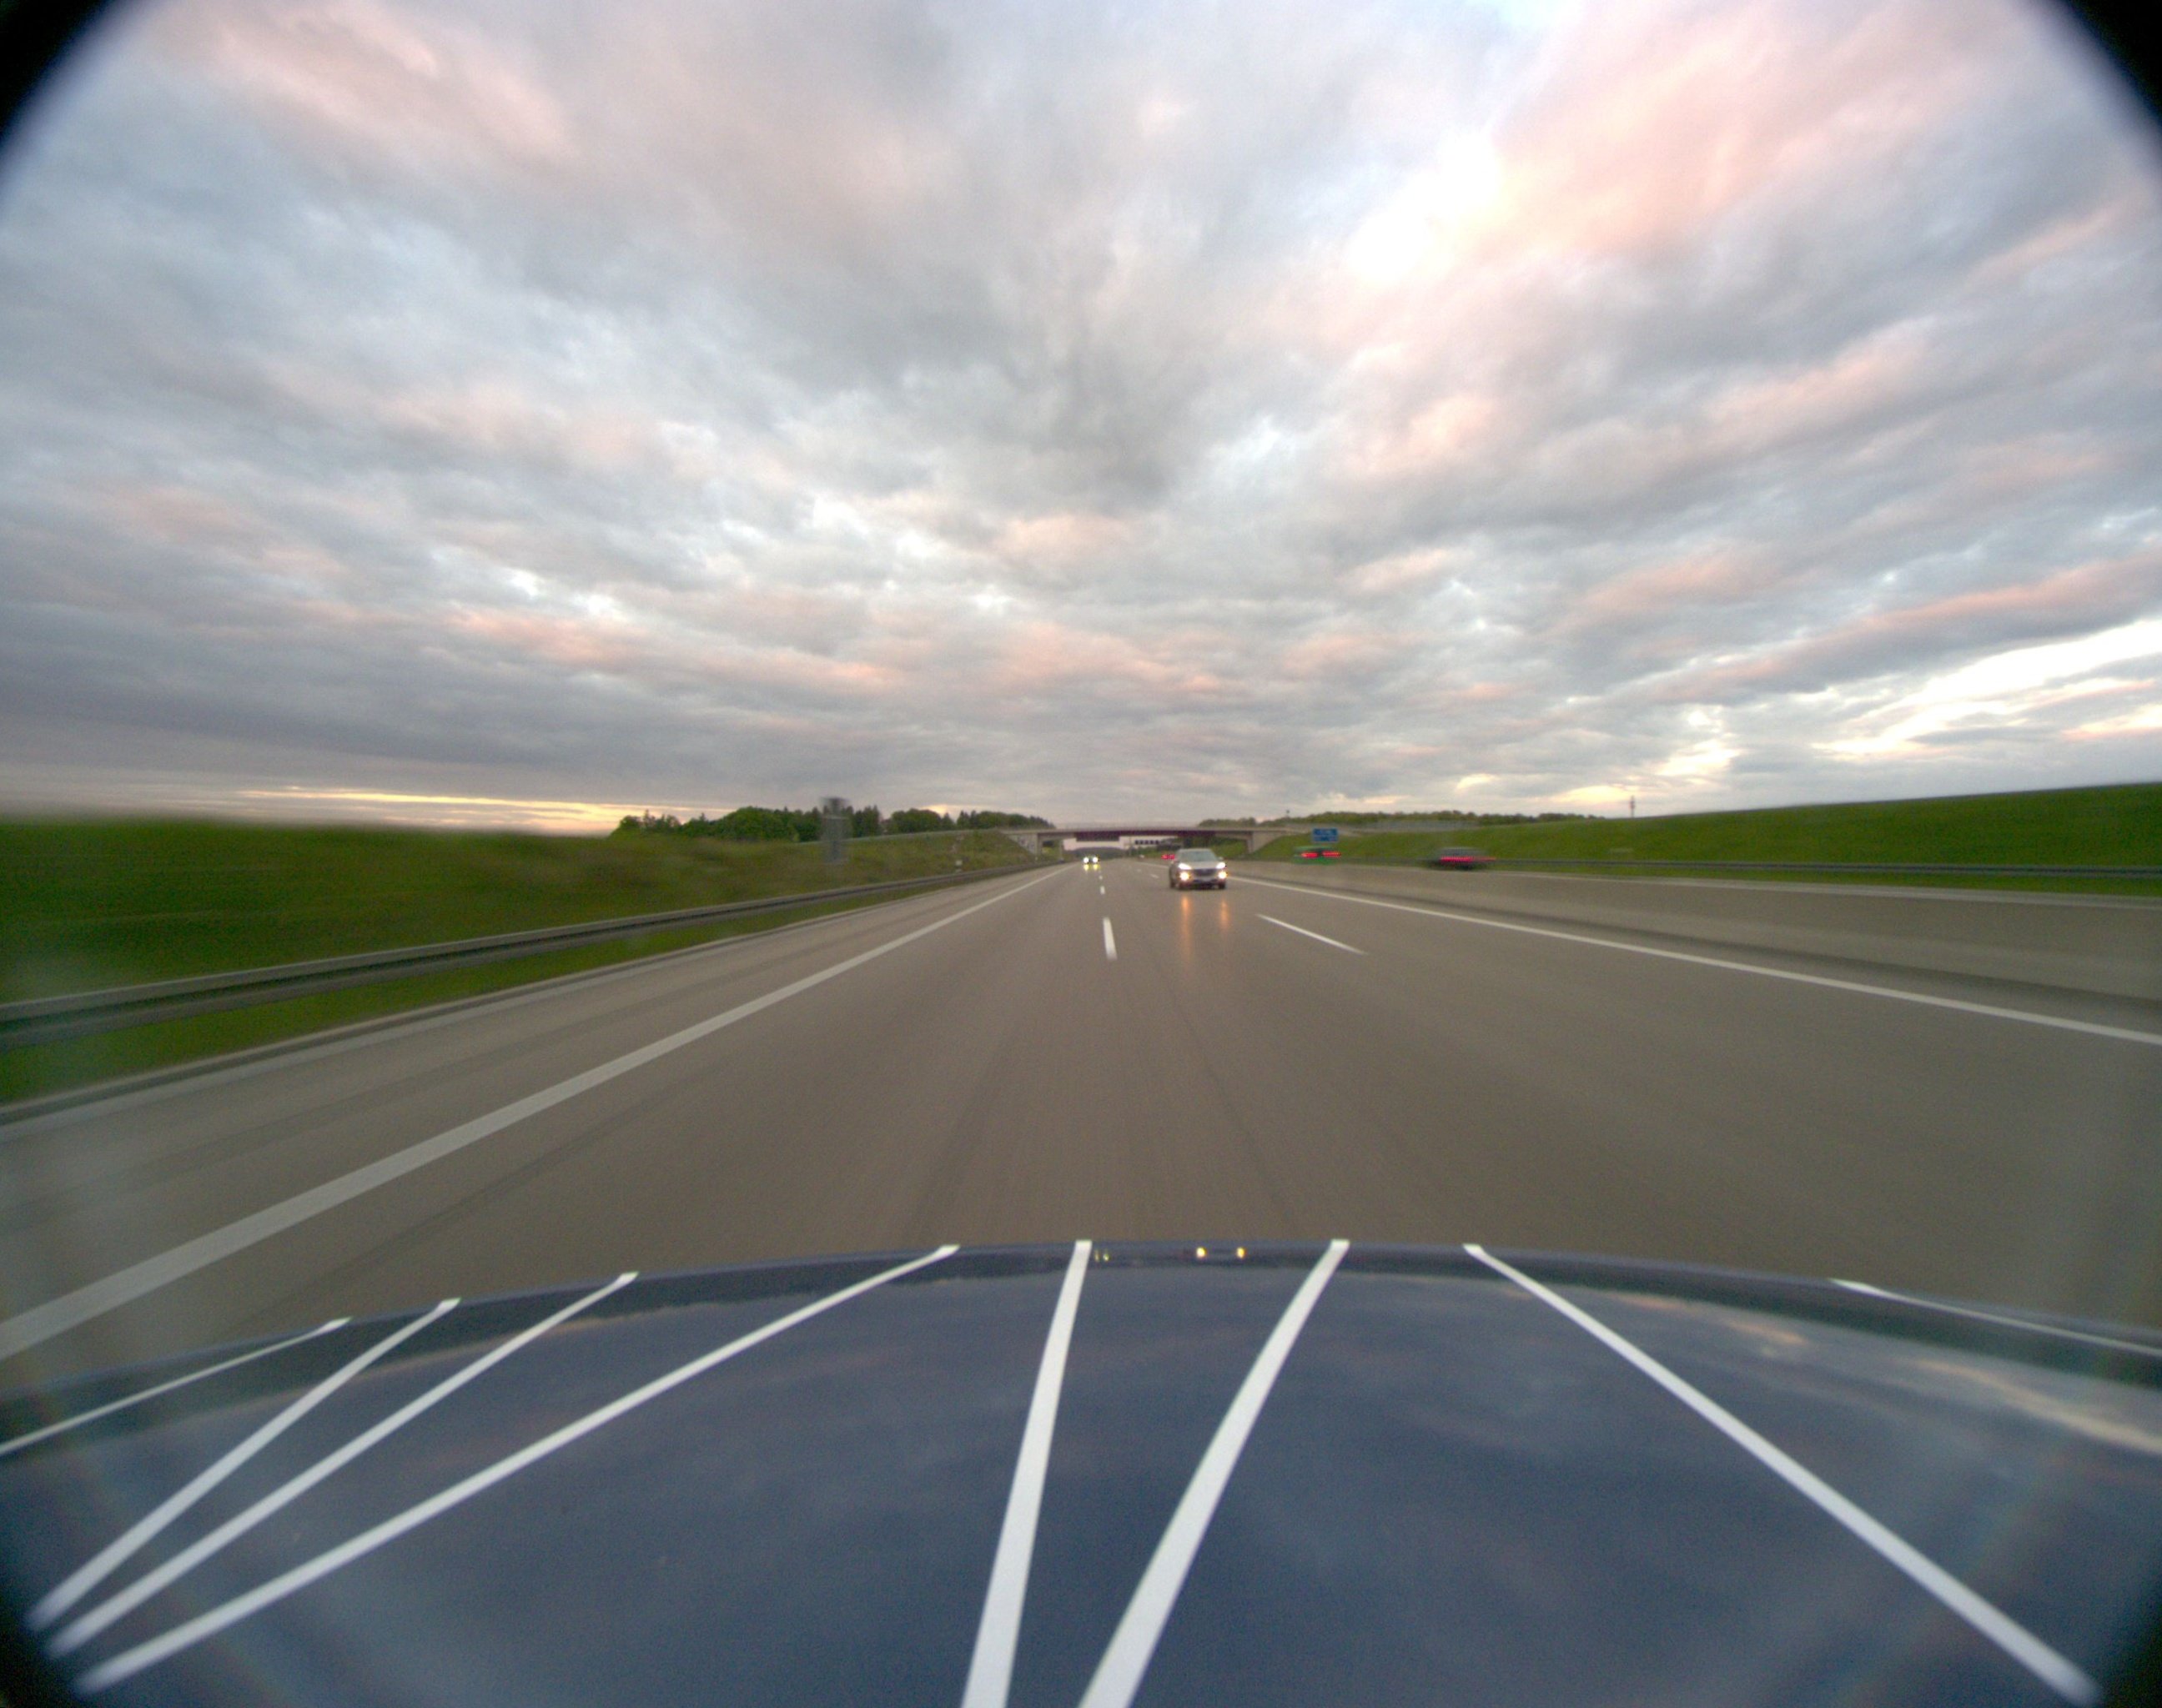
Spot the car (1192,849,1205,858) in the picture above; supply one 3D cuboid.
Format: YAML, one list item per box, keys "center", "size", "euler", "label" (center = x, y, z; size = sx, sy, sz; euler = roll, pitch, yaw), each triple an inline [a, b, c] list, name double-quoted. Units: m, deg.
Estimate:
- center: [24.648, -0.133, 159.330]
  size: [1.998, 1.925, 5.090]
  euler: [-2, 0, 1]
  label: "car"

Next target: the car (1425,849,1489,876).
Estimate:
- center: [22.231, 0.473, 45.091]
  size: [1.634, 1.508, 4.426]
  euler: [-2, 0, 1]
  label: "car"

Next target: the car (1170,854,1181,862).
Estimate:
- center: [18.945, 0.788, 152.534]
  size: [1.815, 1.427, 4.672]
  euler: [-1, 0, 4]
  label: "car"

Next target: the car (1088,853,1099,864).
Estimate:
- center: [2.101, 0.701, 125.069]
  size: [1.801, 1.674, 4.385]
  euler: [-1, 1, 1]
  label: "car"

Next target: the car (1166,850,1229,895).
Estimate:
- center: [4.744, 0.682, 31.620]
  size: [1.857, 1.683, 5.512]
  euler: [-1, 0, 1]
  label: "car"

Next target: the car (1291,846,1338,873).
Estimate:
- center: [18.444, 0.433, 60.221]
  size: [2.008, 2.002, 5.737]
  euler: [-1, 0, 1]
  label: "car"
